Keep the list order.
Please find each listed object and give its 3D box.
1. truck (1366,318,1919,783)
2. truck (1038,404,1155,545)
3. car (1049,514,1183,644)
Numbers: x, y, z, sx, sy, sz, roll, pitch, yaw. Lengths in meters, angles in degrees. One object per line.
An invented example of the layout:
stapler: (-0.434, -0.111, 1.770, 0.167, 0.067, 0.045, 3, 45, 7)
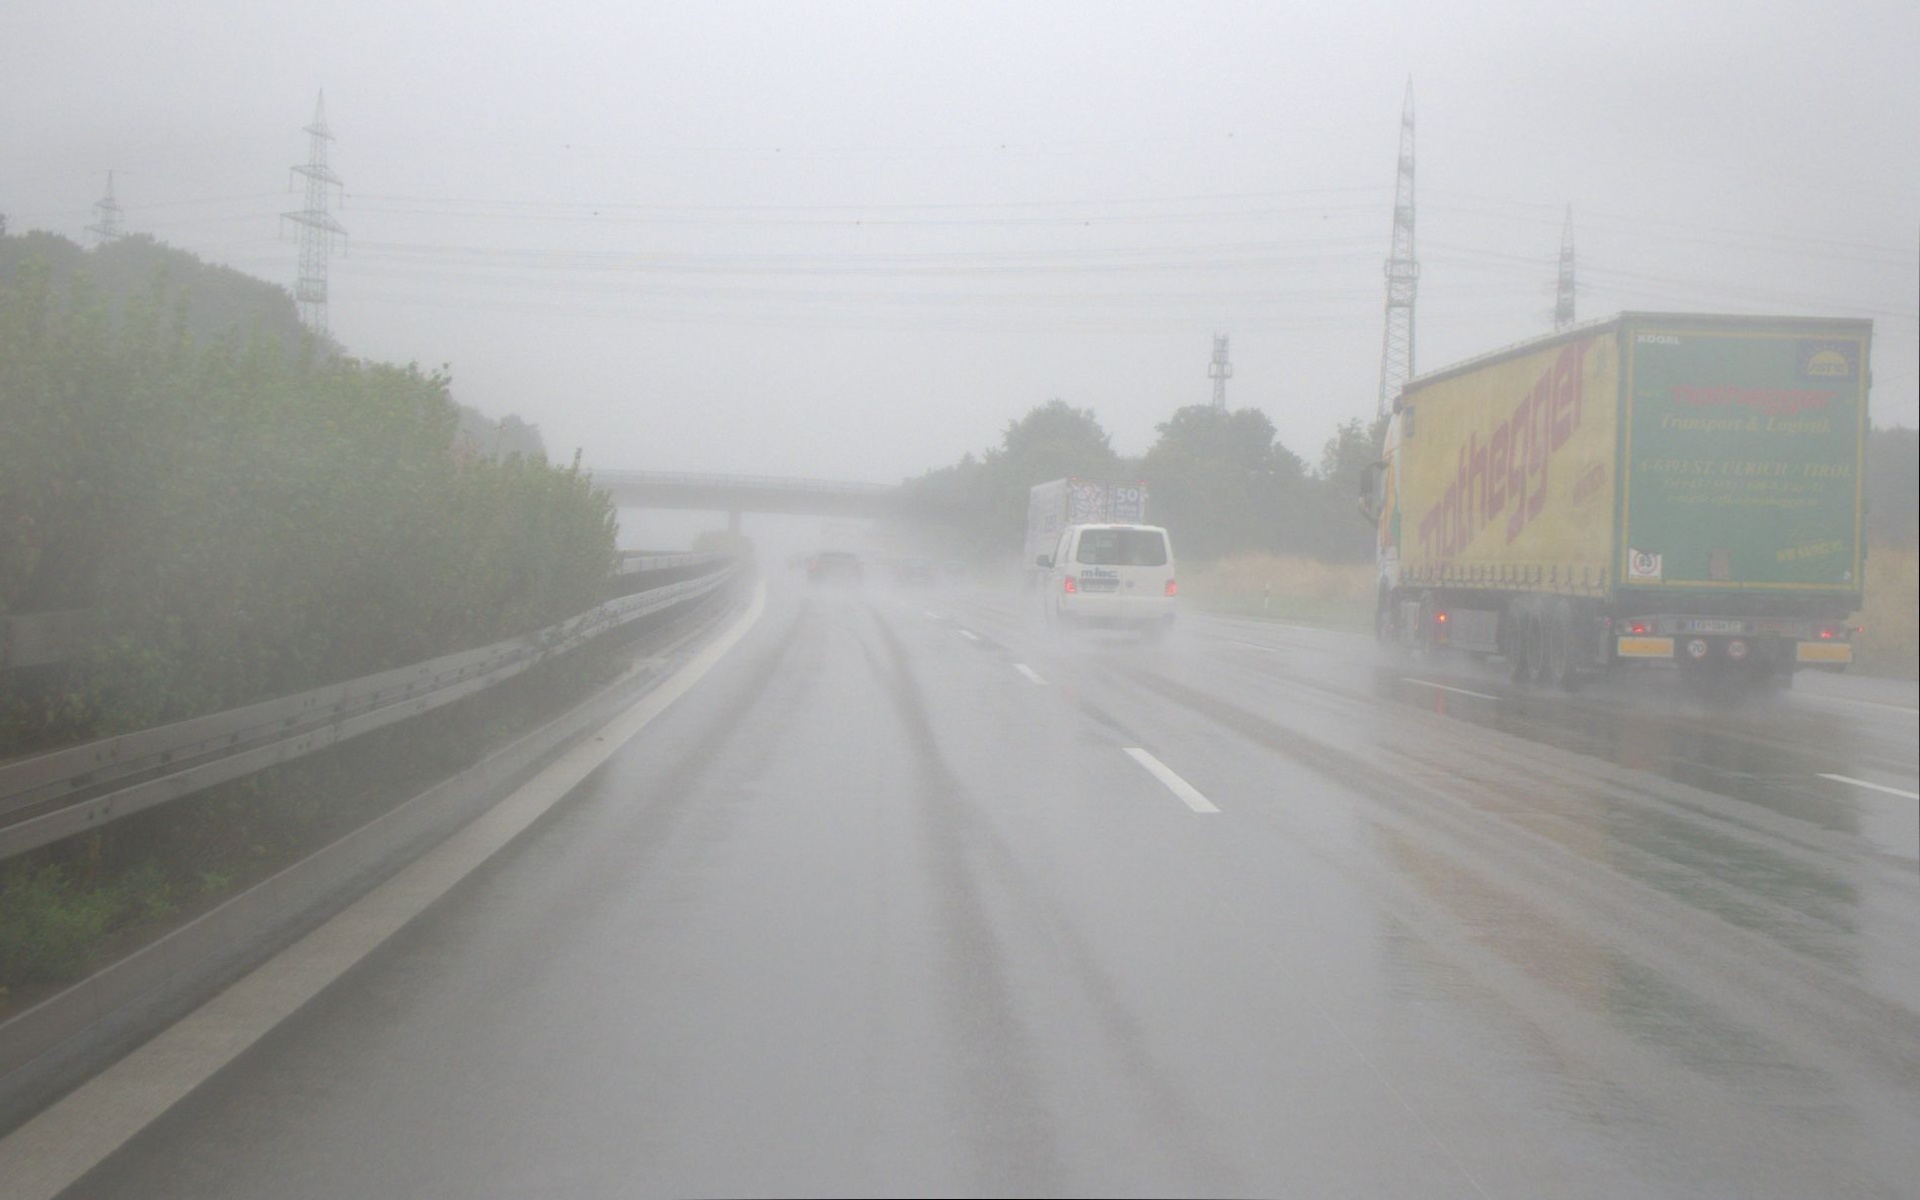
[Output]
truck: (7.957, -0.650, 42.678, 4.189, 4.614, 16.105, 1, 1, 1)
truck: (4.318, -4.006, 110.788, 3.232, 4.296, 8.838, 1, 2, -1)
car: (2.597, -0.380, 56.268, 1.994, 2.006, 4.000, 1, 2, 5)
